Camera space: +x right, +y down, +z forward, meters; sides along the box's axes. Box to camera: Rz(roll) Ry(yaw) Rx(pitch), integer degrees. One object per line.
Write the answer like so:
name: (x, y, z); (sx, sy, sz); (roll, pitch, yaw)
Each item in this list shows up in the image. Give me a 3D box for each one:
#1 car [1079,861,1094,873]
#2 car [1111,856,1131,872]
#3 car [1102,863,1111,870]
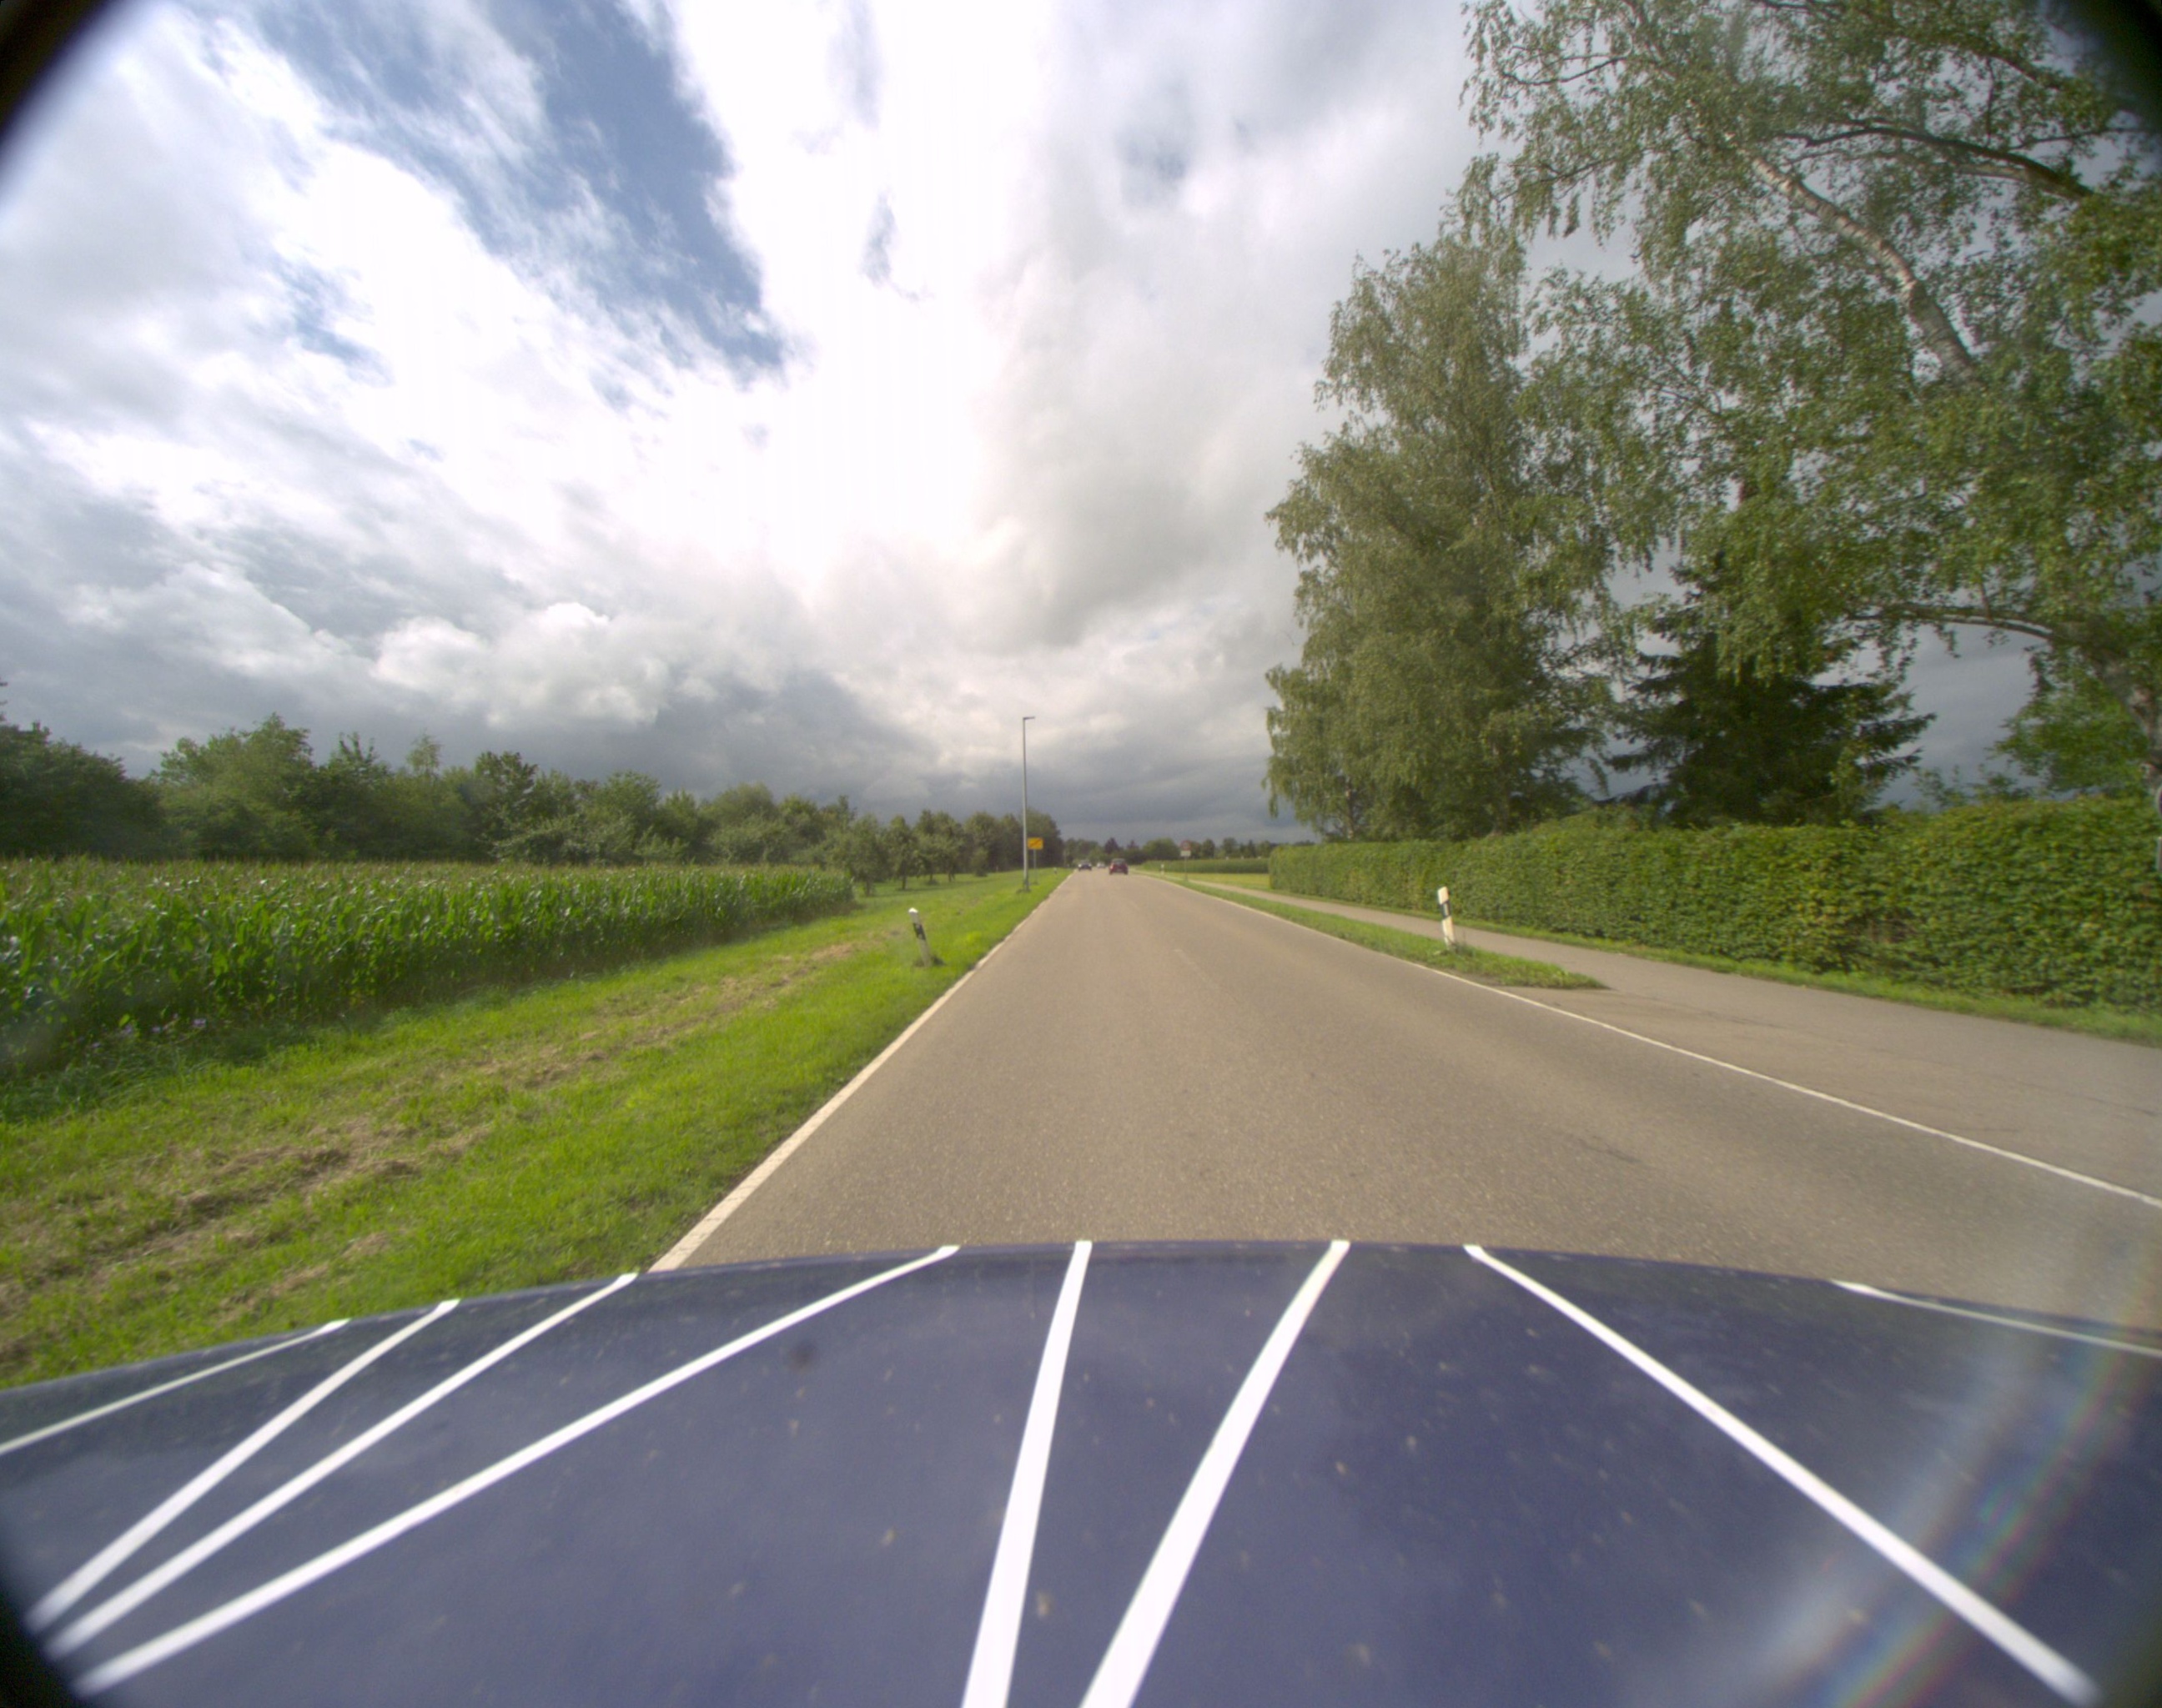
car: (0.786, 1.844, 110.575); (1.998, 1.594, 4.000); (-2, 0, 0)
car: (3.788, 0.934, 72.623); (1.745, 1.462, 4.000); (0, 0, 0)
car: (5.825, 2.855, 174.240); (2.087, 1.716, 4.560); (0, 0, 0)
